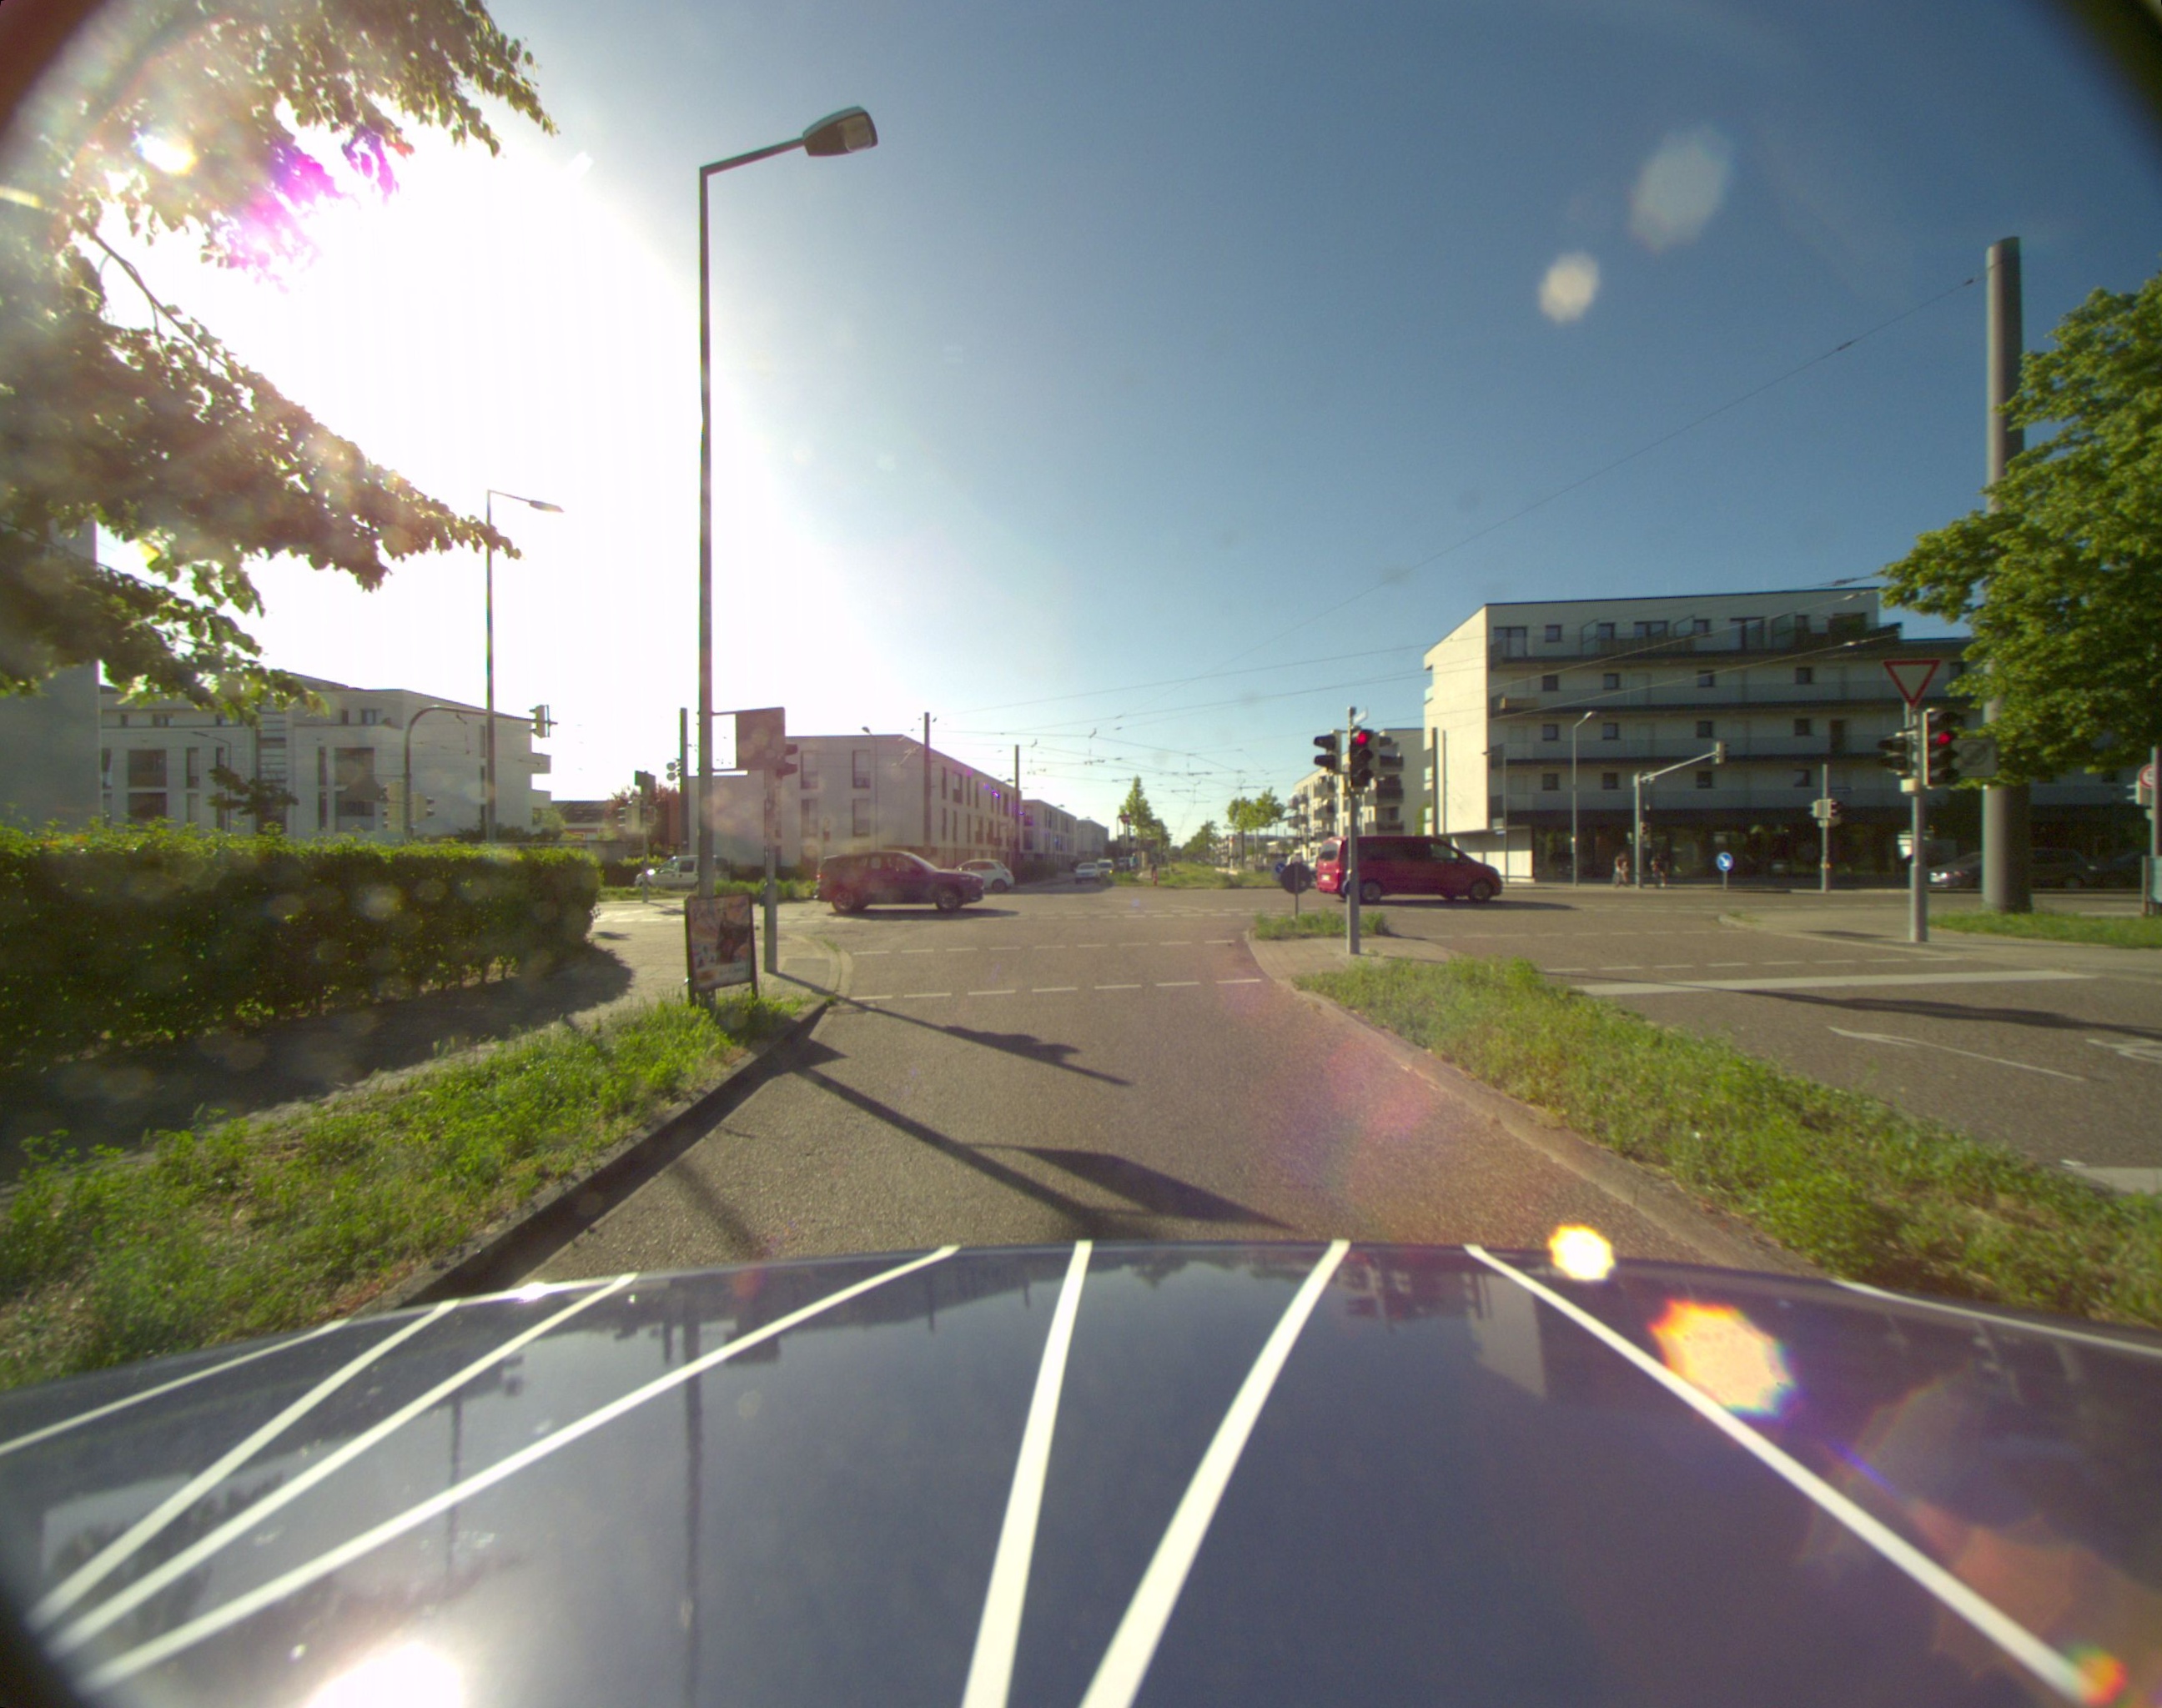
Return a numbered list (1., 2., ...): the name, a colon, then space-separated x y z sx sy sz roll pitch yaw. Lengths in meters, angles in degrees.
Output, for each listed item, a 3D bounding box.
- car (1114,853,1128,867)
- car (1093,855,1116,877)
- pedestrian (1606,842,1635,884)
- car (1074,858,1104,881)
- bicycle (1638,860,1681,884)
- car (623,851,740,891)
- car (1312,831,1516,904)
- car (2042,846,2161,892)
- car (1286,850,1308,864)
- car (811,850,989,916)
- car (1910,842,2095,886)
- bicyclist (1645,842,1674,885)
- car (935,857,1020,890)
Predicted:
1. car: 5.810 0.854 110.917 1.998 2.002 4.001 -1 0 3
2. car: 2.264 1.093 72.080 1.998 2.002 4.001 0 0 5
3. pedestrian: 26.419 0.447 37.223 0.760 2.002 0.980 0 0 2
4. car: 0.660 1.176 59.409 2.007 1.655 4.002 0 0 5
5. bicycle: 27.870 0.845 36.624 0.745 1.137 1.642 0 0 -4
6. car: -18.426 0.772 35.168 4.356 1.745 2.001 0 0 5
7. car: 9.675 0.341 22.347 5.081 1.958 2.128 -1 2 -3
8. car: 41.615 0.562 29.679 5.192 1.727 2.001 0 0 6
9. car: 26.561 0.353 93.499 1.997 1.544 4.001 0 2 7
10. car: -4.846 0.753 20.829 4.405 1.663 1.999 0 2 -1
11. car: 33.860 0.370 28.045 3.993 1.562 2.002 0 0 11
12. bicyclist: 27.861 0.456 36.609 0.811 2.002 0.795 0 0 -5
13. car: -4.719 0.924 35.041 3.540 1.478 2.002 0 -2 5
